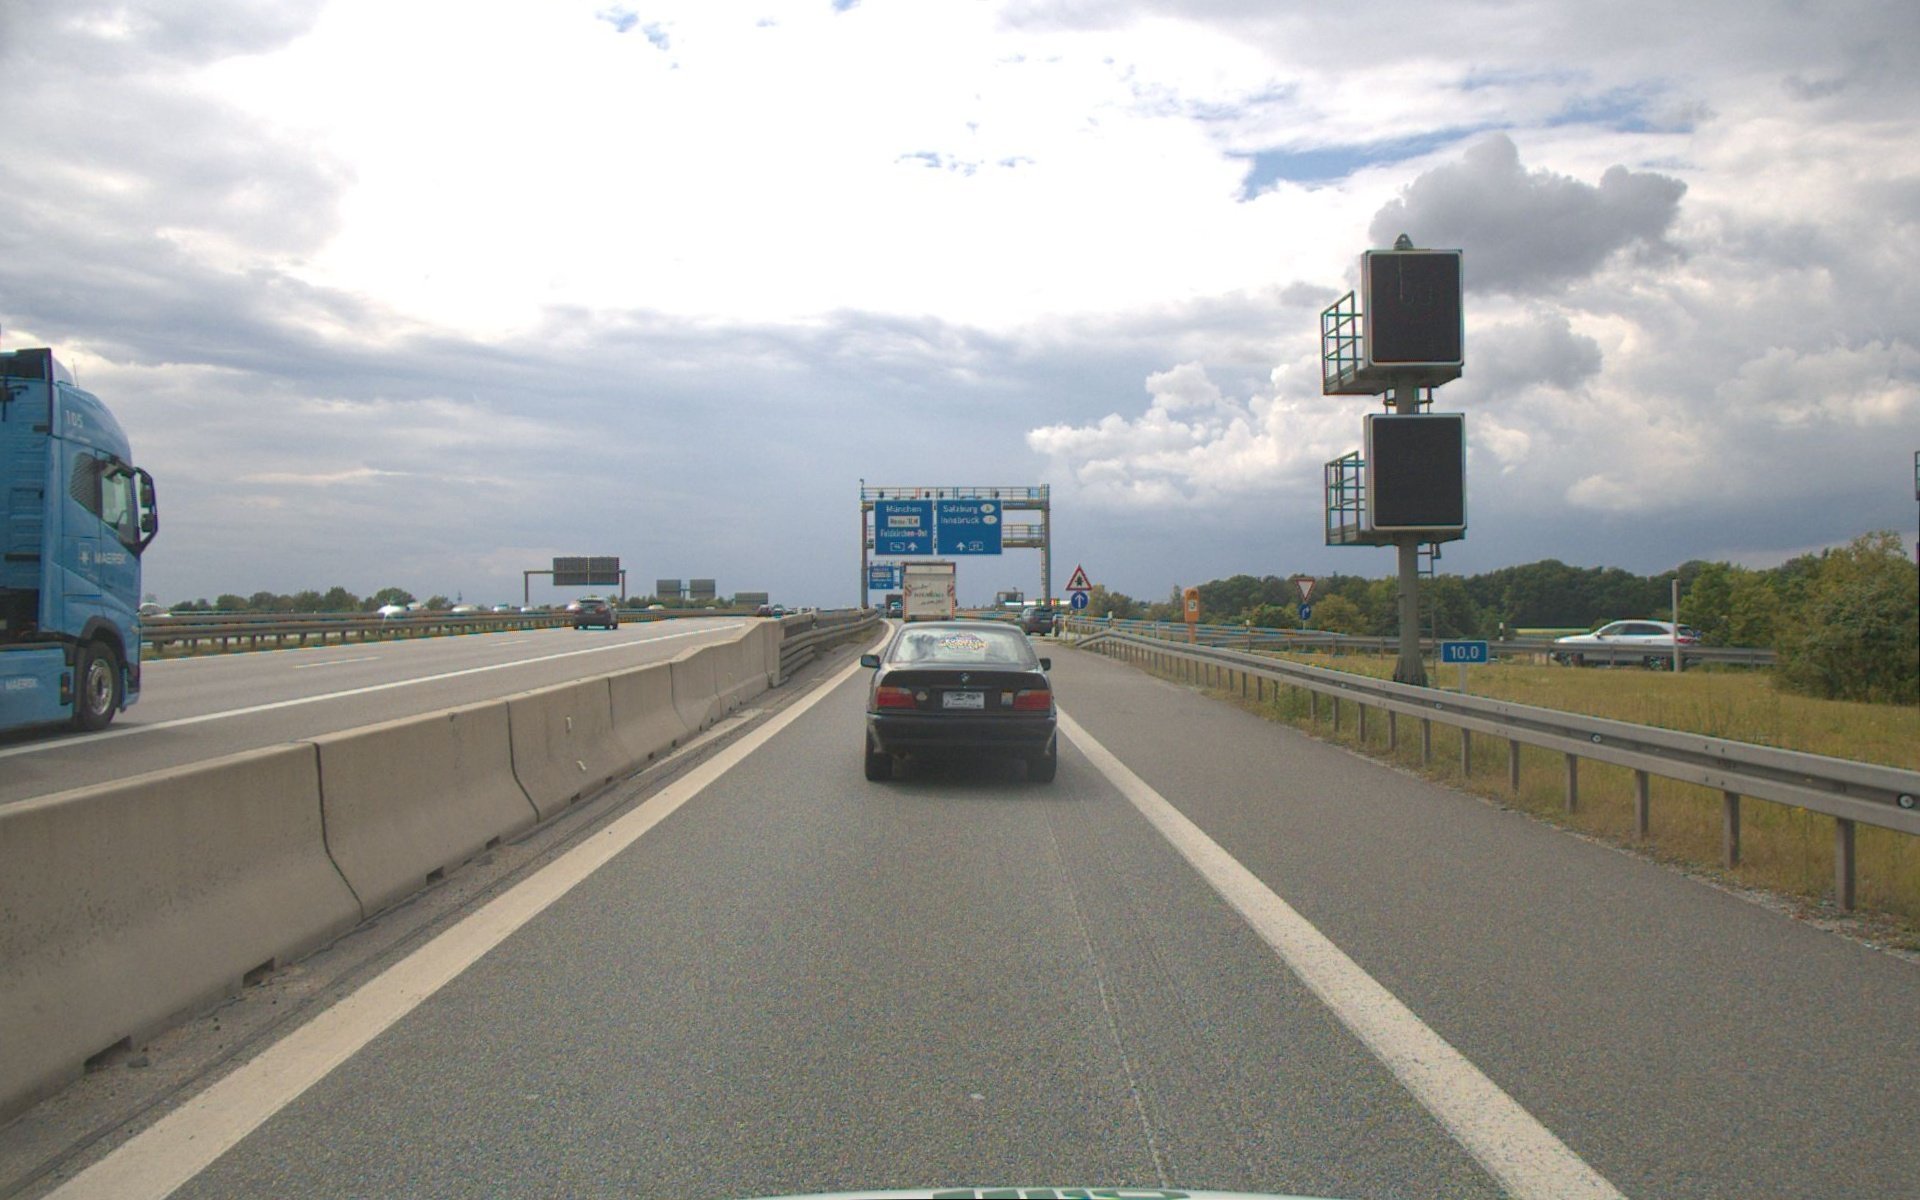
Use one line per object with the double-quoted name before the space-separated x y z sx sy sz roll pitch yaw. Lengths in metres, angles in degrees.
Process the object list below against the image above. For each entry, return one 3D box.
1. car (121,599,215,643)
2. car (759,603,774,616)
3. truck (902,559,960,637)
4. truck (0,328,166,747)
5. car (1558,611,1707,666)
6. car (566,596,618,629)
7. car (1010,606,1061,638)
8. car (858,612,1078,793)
"car" -28.110 0.717 58.830 1.492 1.489 3.999 1 0 -2
"car" -26.684 1.275 228.122 1.954 1.691 4.380 1 0 -4
"truck" -1.287 -0.071 70.438 2.356 3.144 6.367 1 0 -2
"truck" -10.723 -0.605 15.907 3.182 3.980 6.606 1 0 -3
"car" 21.868 1.208 53.866 4.133 1.714 1.931 0 -1 42
"car" -18.573 0.615 83.630 1.855 1.625 4.415 1 0 -3
"car" 3.863 1.120 85.007 1.956 1.579 3.994 1 0 -7
"car" 0.056 0.836 15.292 1.746 1.402 4.136 1 0 0
